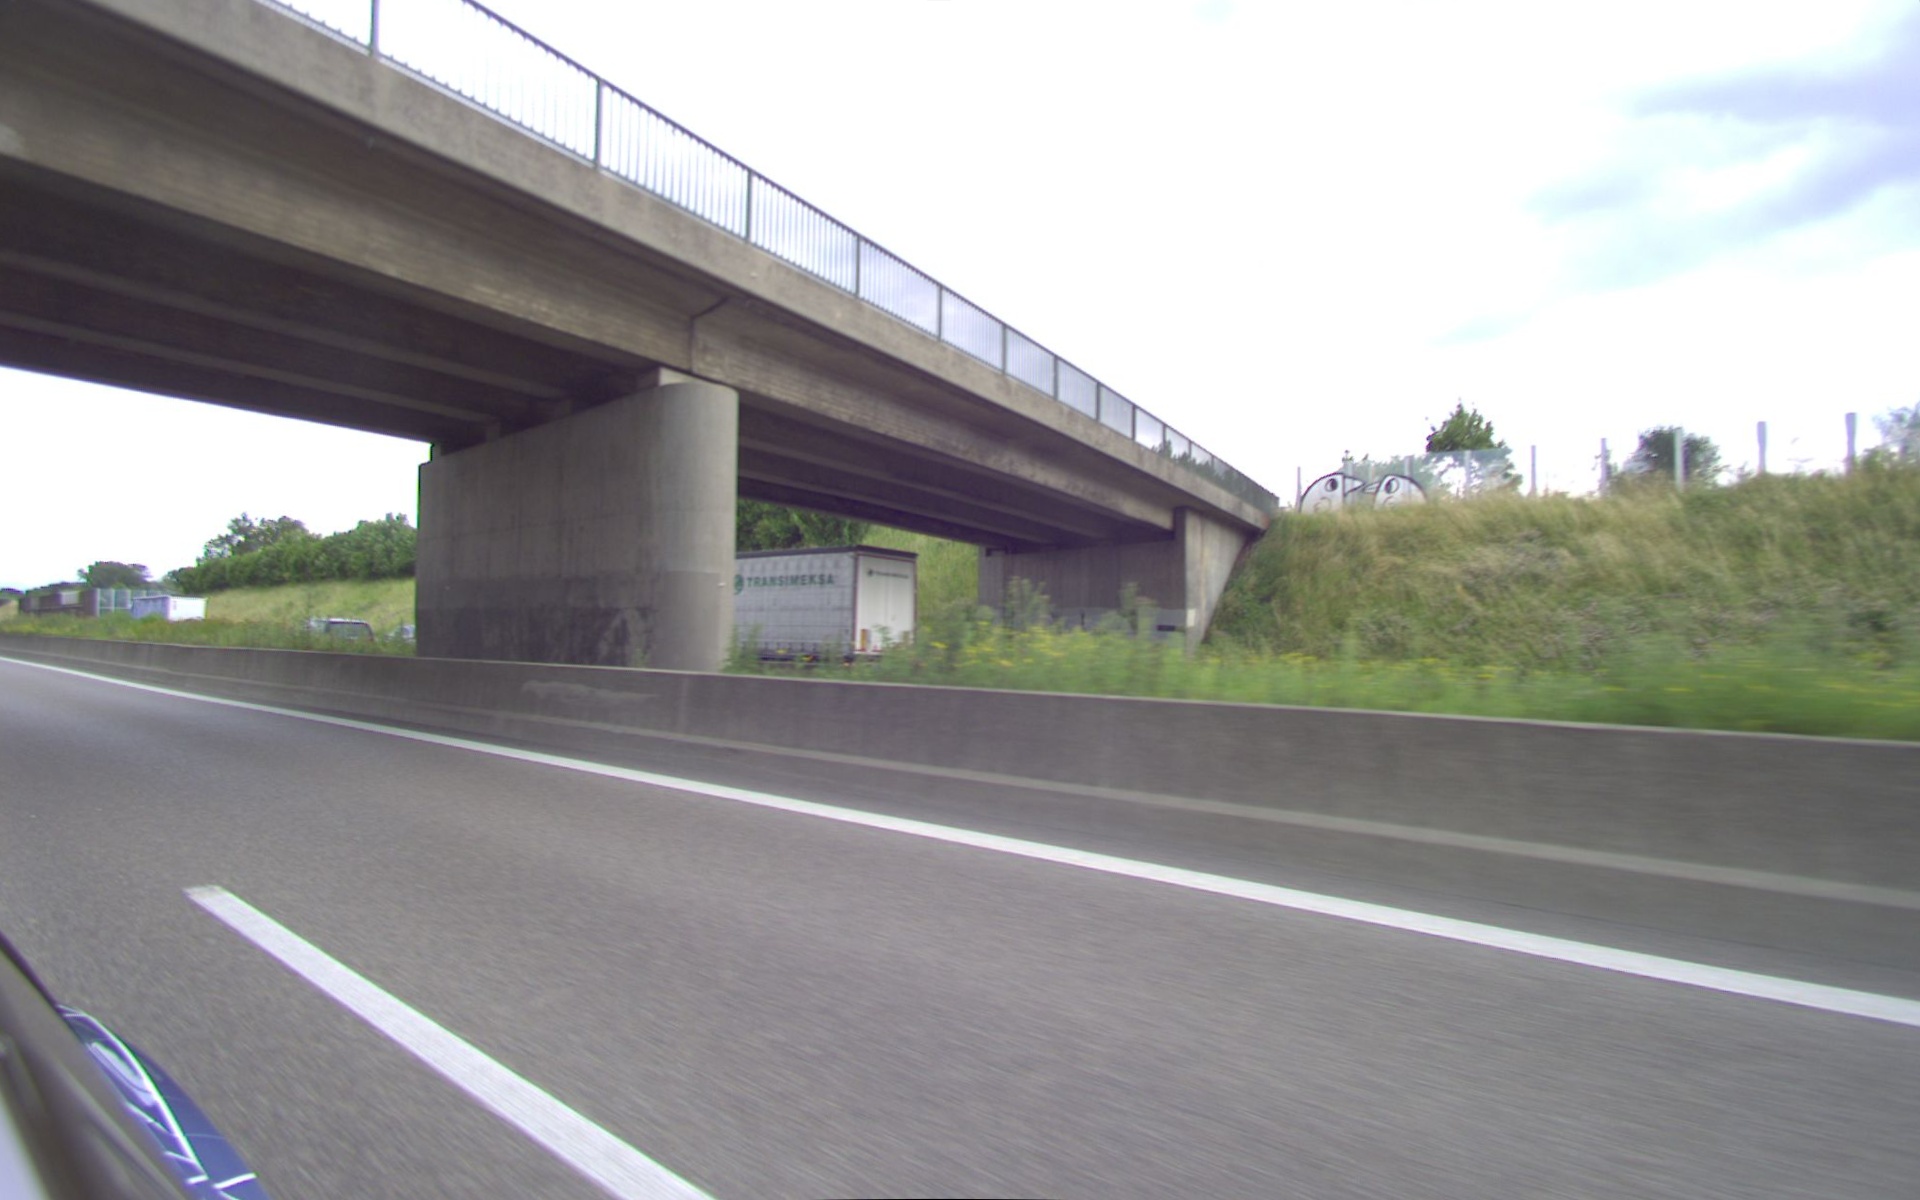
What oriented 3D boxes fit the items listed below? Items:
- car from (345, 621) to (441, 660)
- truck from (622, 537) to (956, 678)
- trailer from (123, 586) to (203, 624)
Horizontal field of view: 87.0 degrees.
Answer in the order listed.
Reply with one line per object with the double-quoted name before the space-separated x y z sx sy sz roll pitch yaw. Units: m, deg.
"car" -23.088 1.648 41.112 4.918 1.496 1.709 -2 -3 39
"truck" -5.953 0.295 32.139 13.002 3.712 2.966 -1 -1 41
"trailer" -67.757 0.467 85.867 13.964 2.978 2.891 -1 0 41
